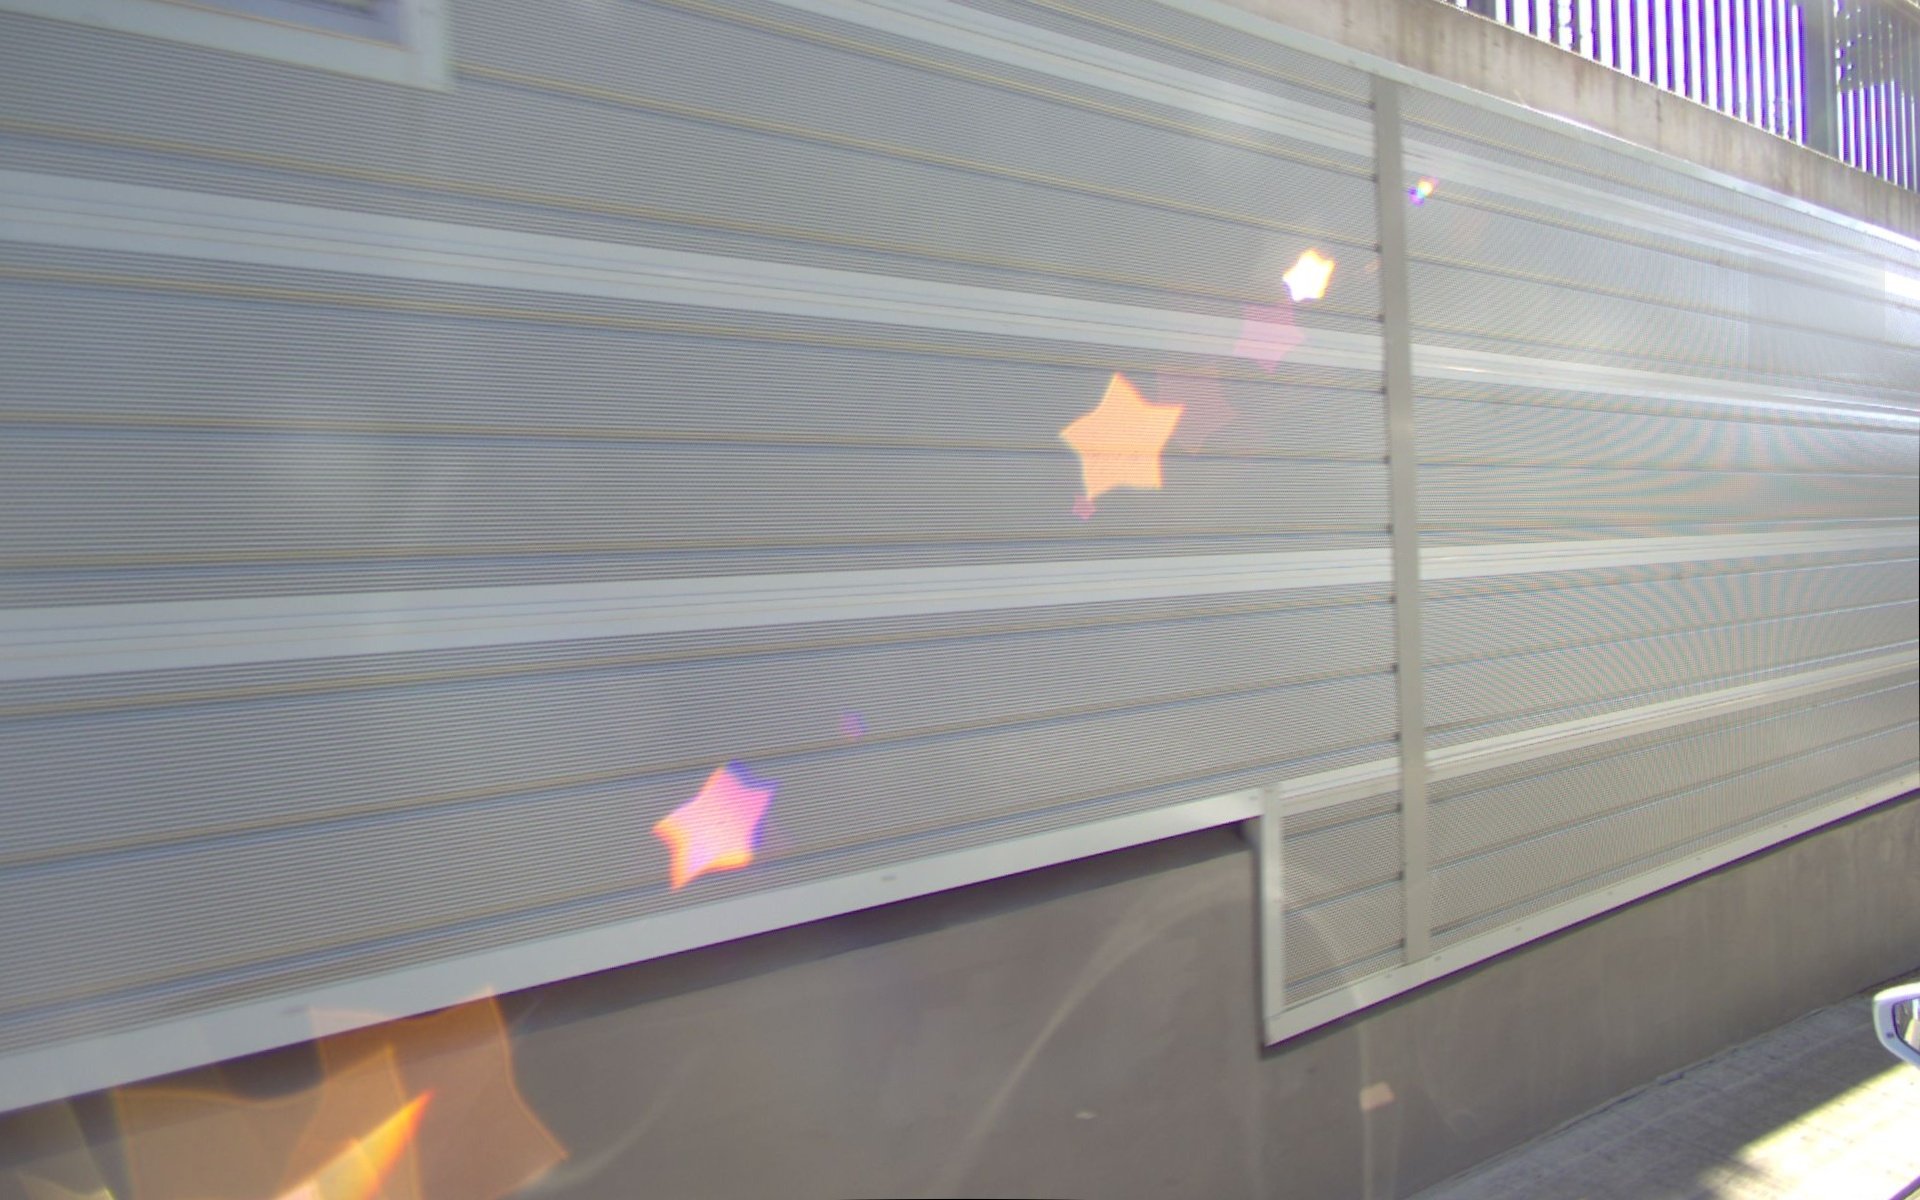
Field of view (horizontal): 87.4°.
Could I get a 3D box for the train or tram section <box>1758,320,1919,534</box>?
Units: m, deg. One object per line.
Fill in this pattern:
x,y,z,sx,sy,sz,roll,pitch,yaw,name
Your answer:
23.011,-3.610,23.332,12.936,3.873,2.598,-3,2,-31,train or tram section
